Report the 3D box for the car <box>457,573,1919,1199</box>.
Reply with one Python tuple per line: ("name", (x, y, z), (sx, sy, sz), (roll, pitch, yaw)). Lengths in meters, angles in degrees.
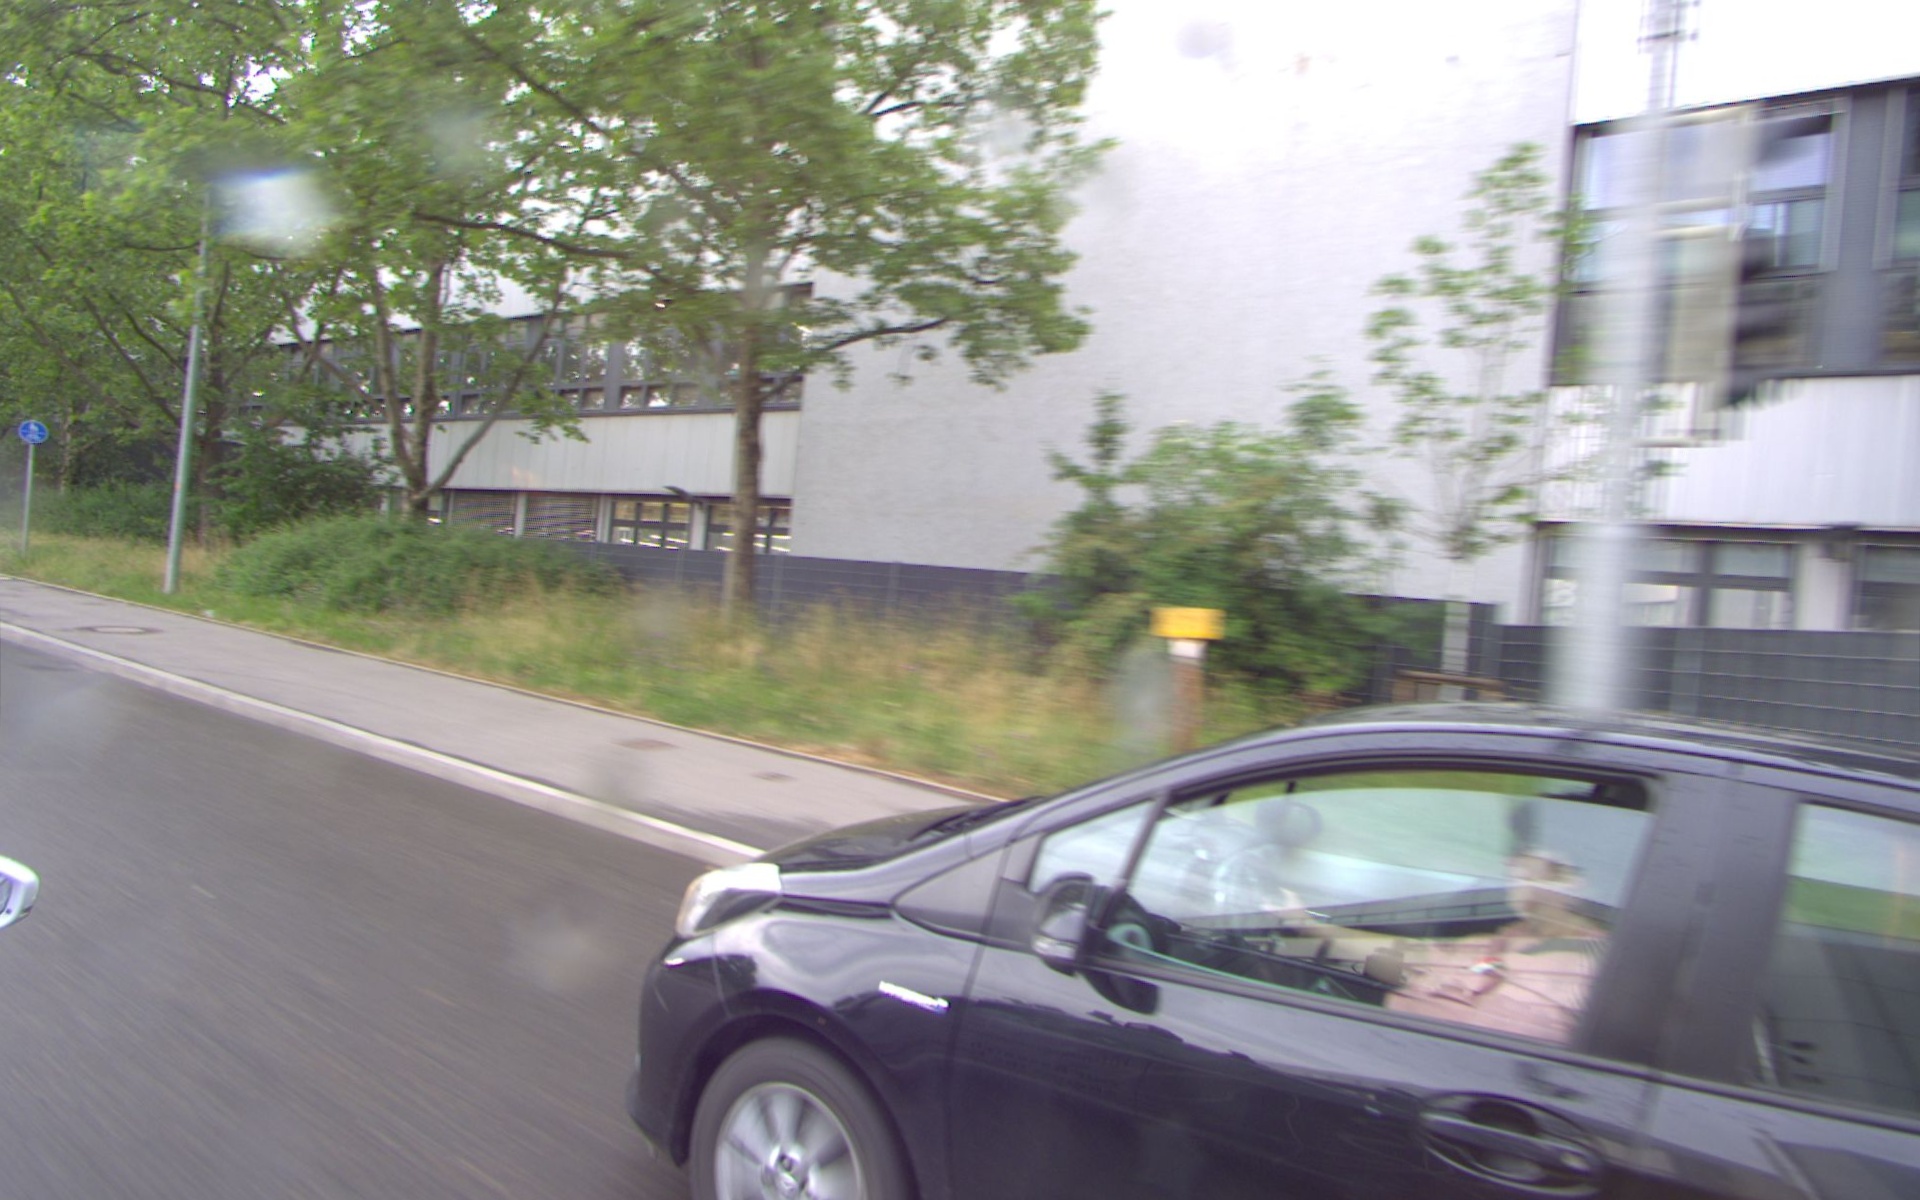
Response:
("car", (1.178, 0.953, 2.158), (4.563, 1.487, 1.748), (6, -1, 31))
